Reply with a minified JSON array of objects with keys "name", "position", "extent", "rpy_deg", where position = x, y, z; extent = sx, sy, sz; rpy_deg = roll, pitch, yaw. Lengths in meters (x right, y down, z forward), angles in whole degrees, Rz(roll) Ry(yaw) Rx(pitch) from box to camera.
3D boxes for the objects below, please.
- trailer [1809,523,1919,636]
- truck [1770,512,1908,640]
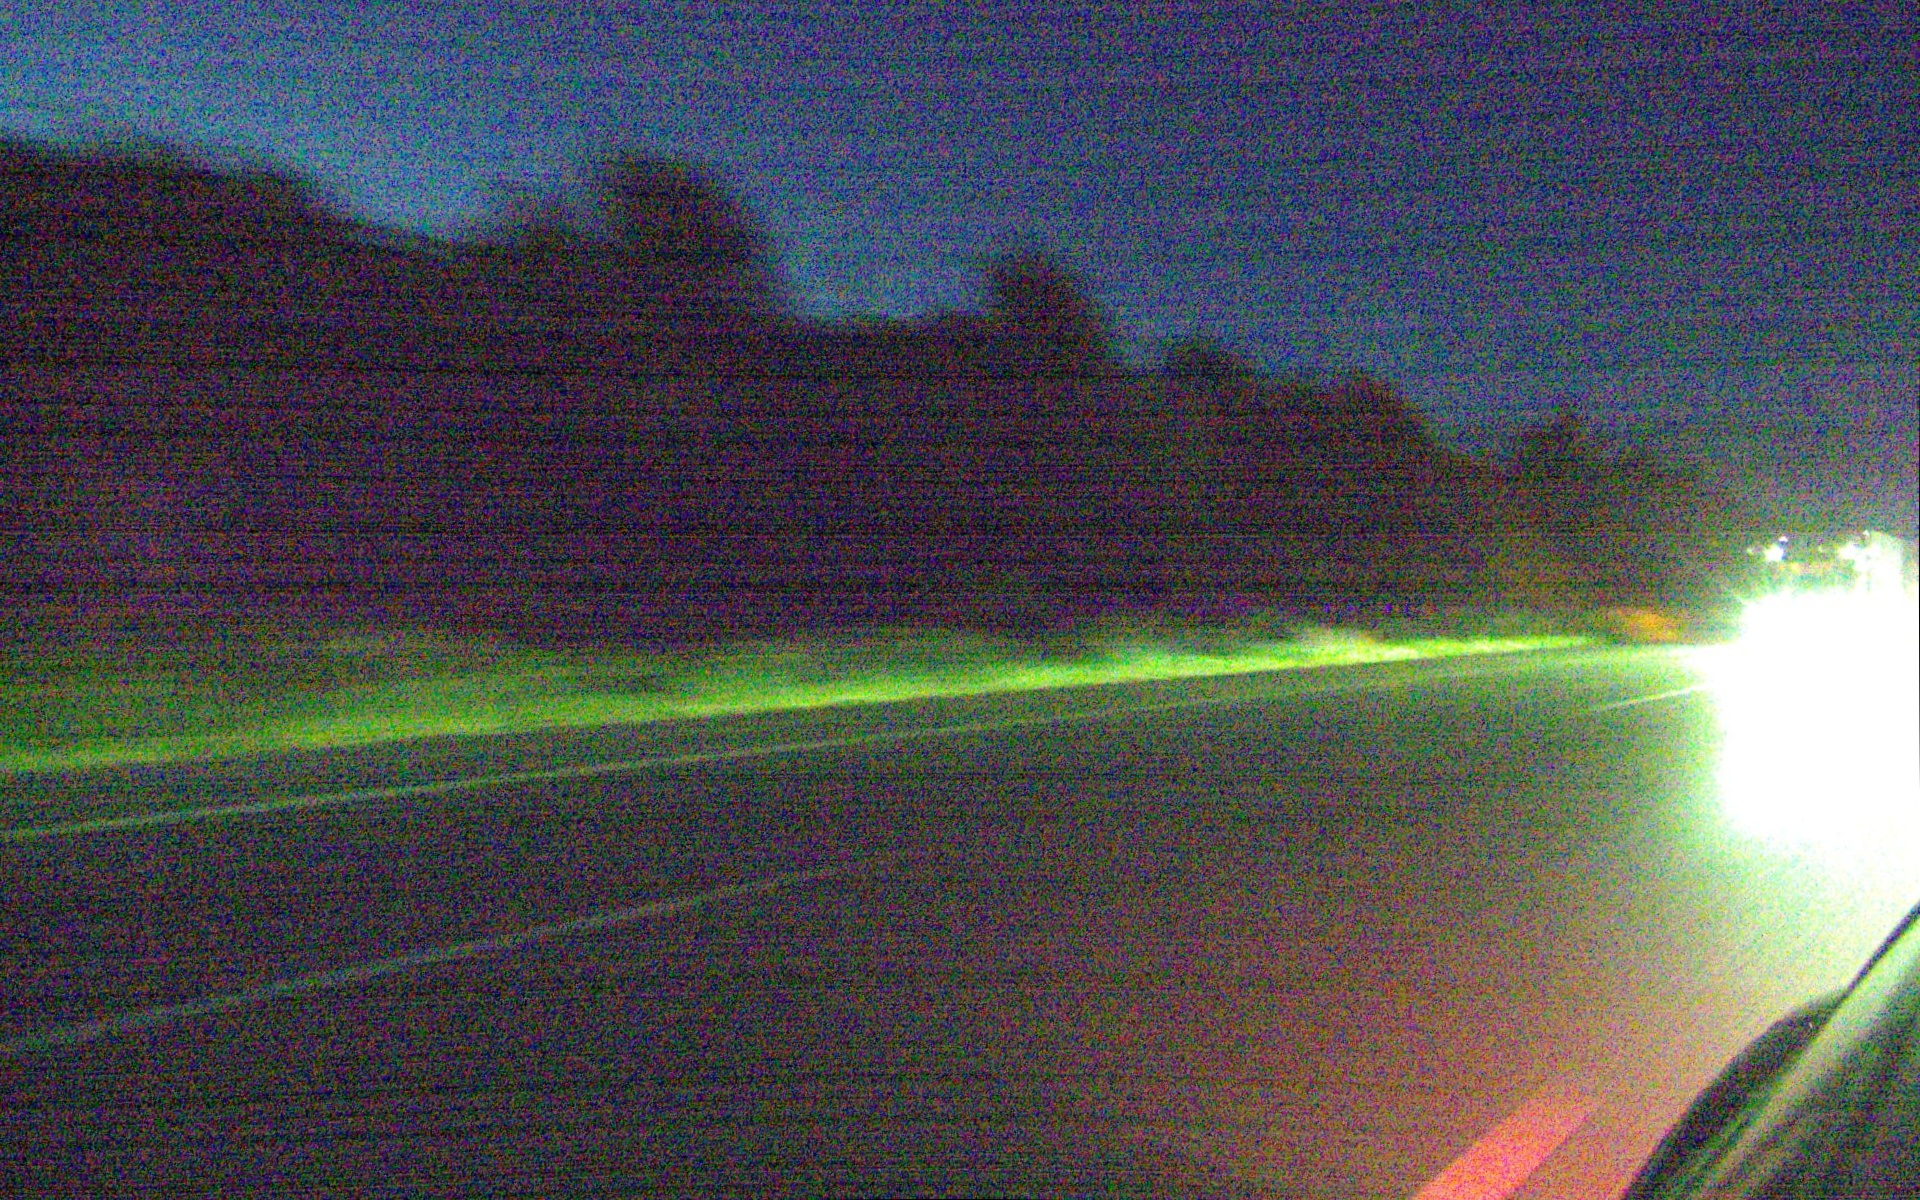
[{"name":"trailer","position":[37.054,-0.726,40.881],"extent":[9.830,4.124,2.596],"rpy_deg":[0,-1,-40]},{"name":"truck","position":[31.446,-0.754,36.090],"extent":[7.537,4.124,2.596],"rpy_deg":[0,-1,-40]}]
